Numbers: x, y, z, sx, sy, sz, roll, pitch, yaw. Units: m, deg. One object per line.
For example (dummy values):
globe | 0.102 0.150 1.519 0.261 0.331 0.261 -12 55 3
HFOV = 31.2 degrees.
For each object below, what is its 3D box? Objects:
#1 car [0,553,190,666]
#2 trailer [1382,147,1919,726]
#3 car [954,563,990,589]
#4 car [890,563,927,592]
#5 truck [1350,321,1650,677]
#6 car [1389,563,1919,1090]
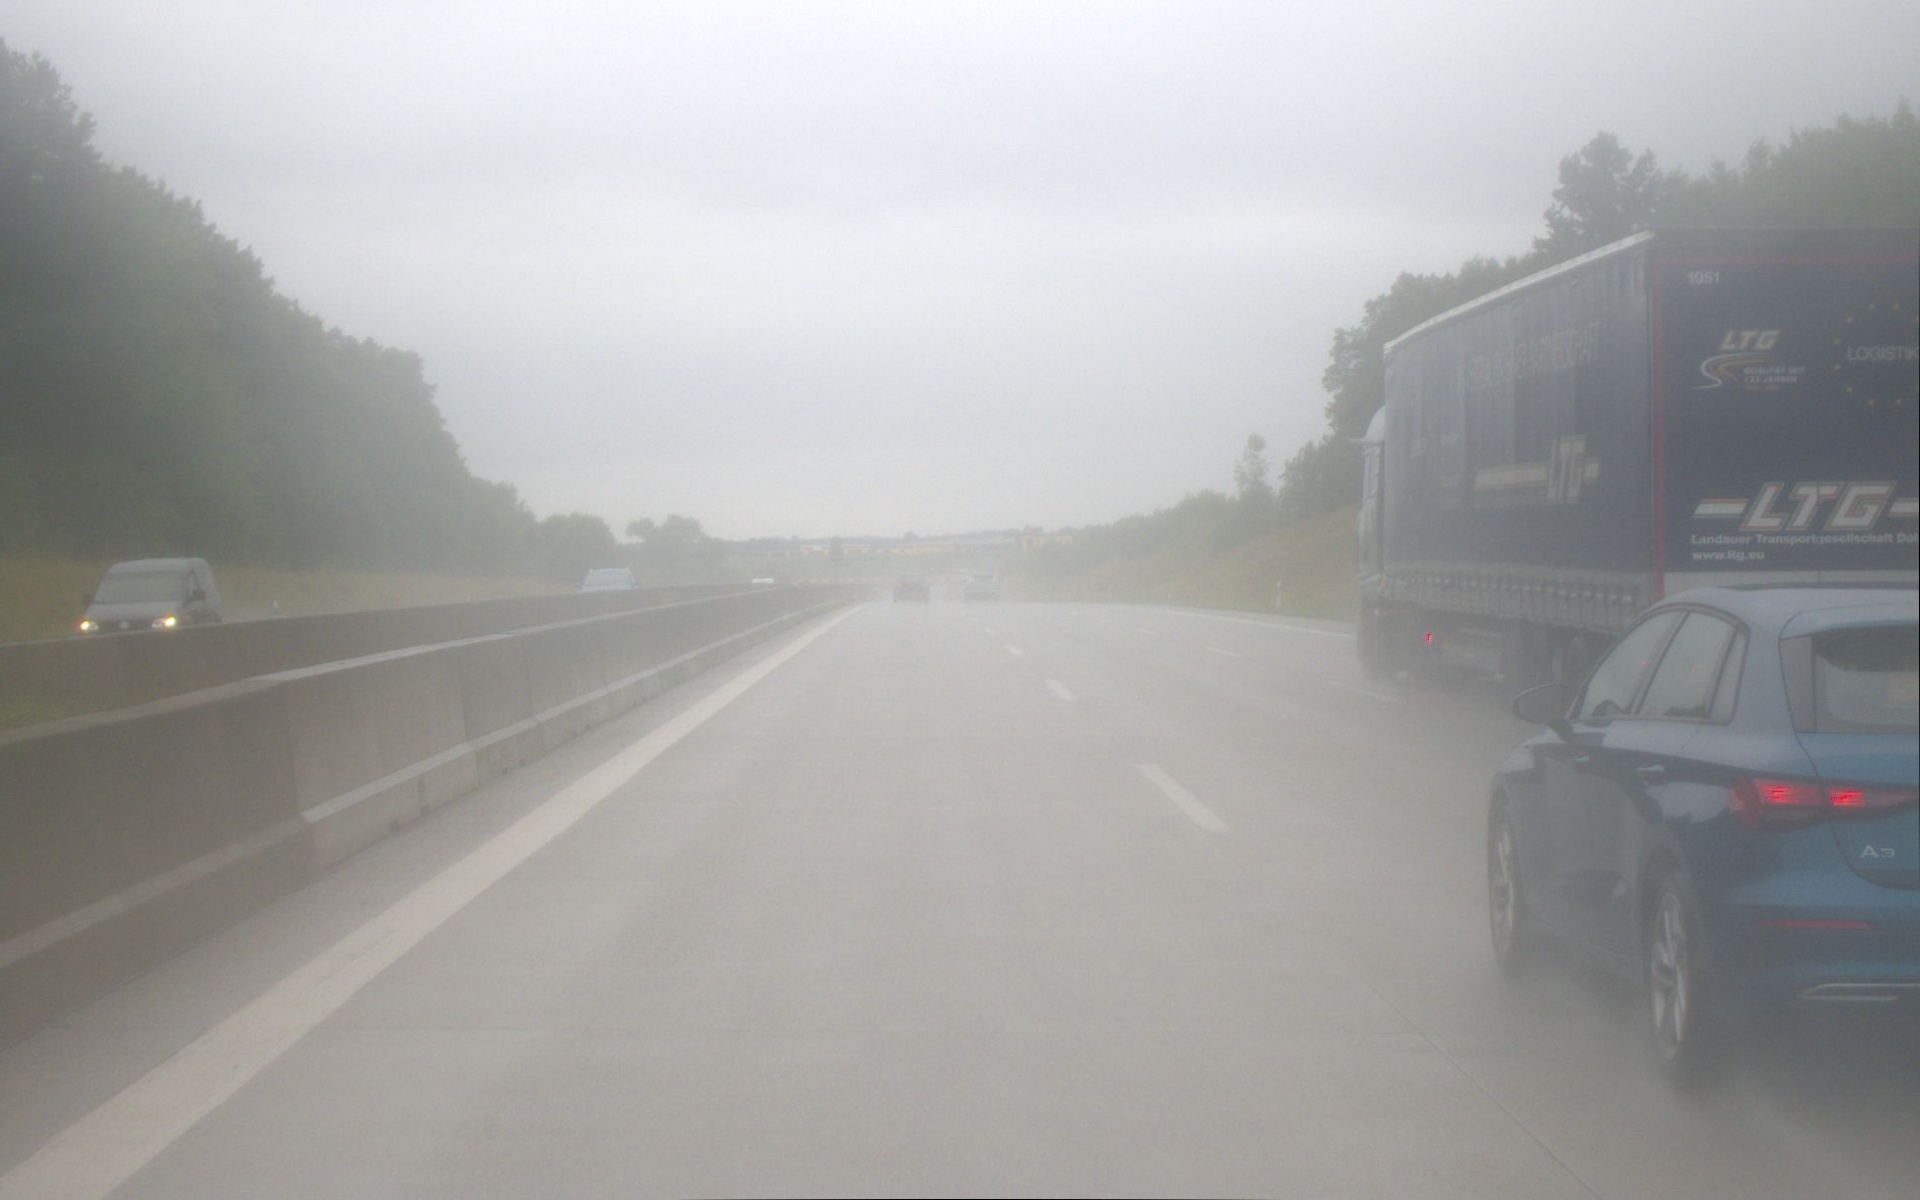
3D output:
car | -13.638 0.130 54.243 1.879 1.659 4.687 -2 0 0
trailer | 6.517 -1.309 33.705 2.706 4.364 15.205 1 1 0
car | 0.643 -1.281 182.587 1.847 1.326 4.430 0 1 -1
car | -2.486 -1.085 166.247 1.729 1.326 4.430 0 1 -1
truck | 6.345 -1.158 41.192 2.636 3.940 5.686 1 1 0
car | 2.686 0.631 11.897 1.729 1.454 4.672 -1 0 -1
